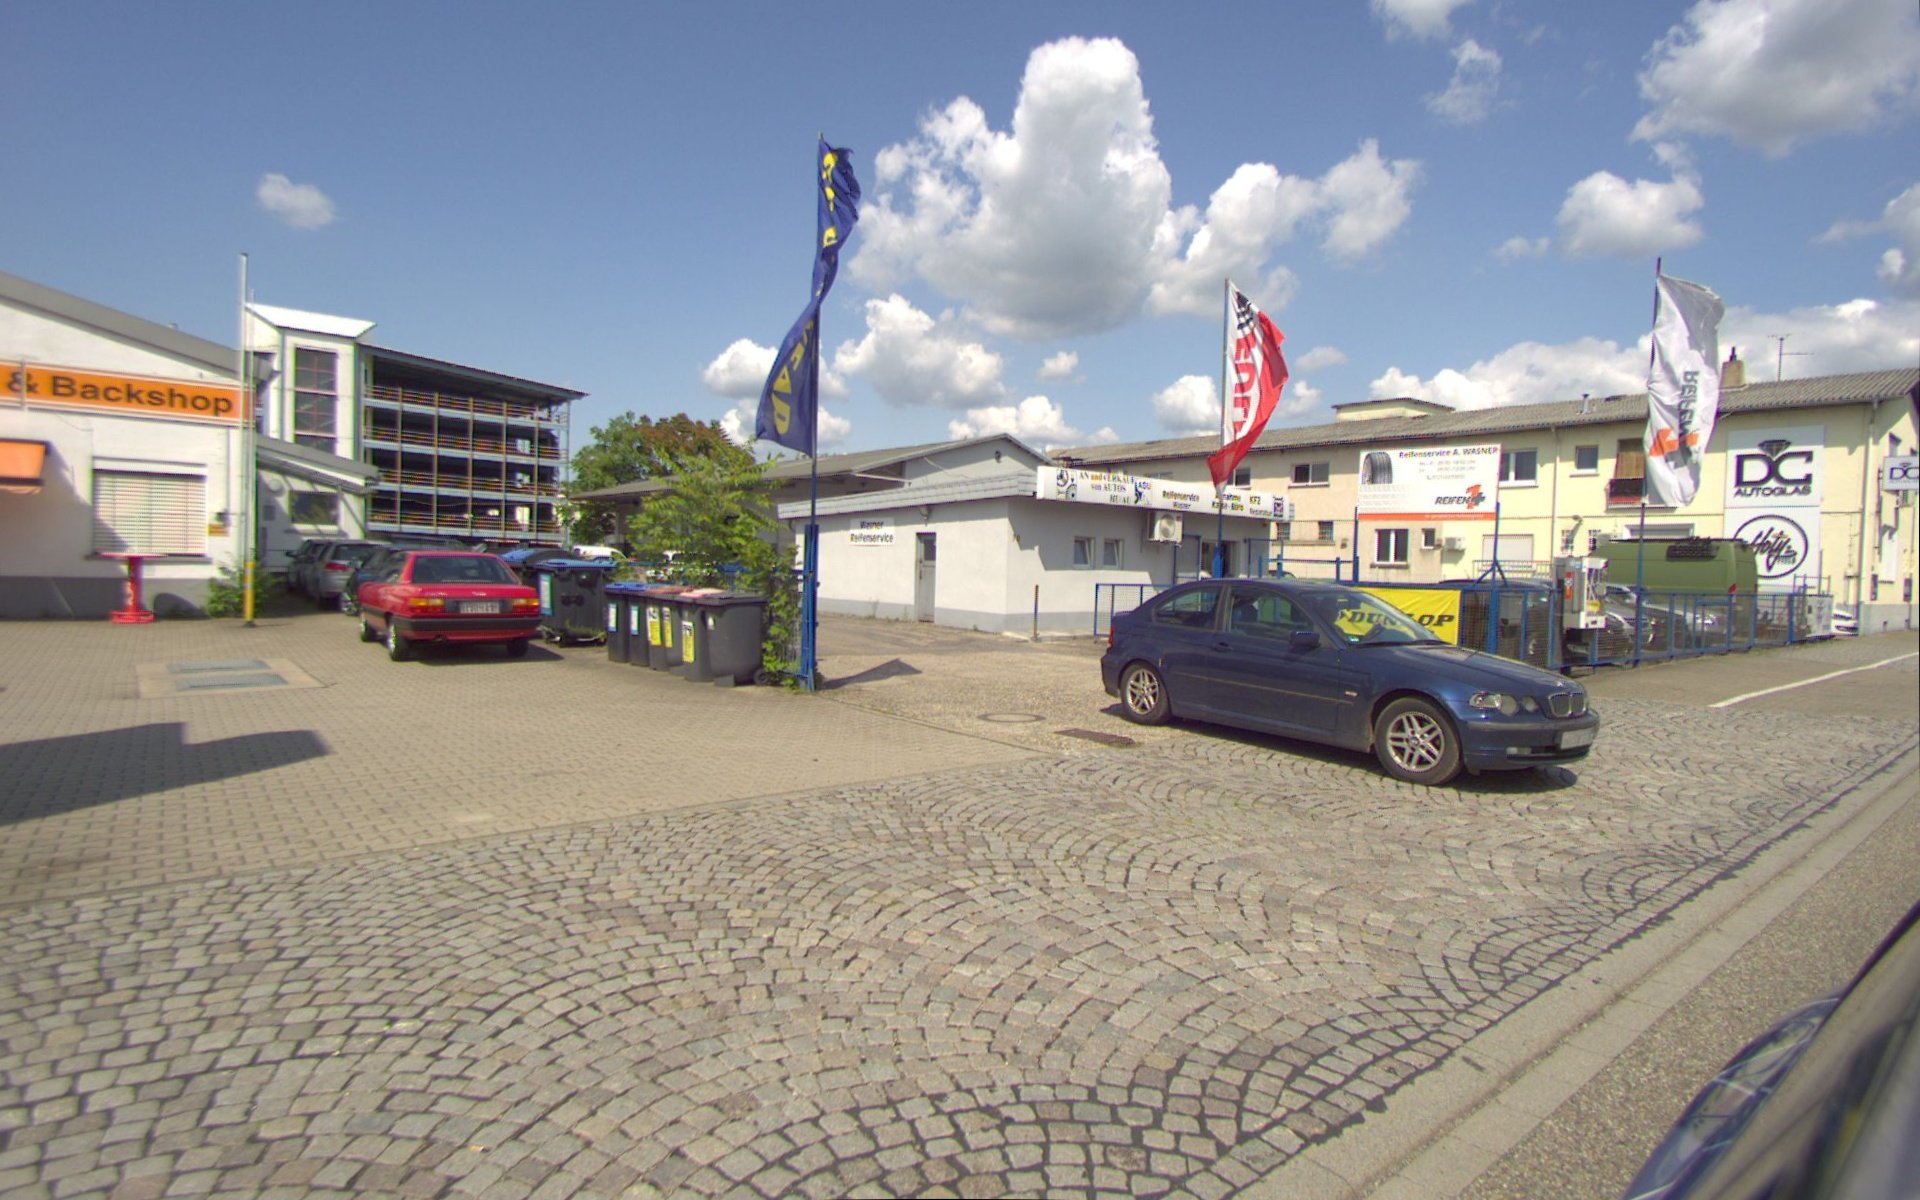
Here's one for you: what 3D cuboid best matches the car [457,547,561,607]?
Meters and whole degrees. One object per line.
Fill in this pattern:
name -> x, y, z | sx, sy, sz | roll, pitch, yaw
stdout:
car -> -10.443, -0.577, 23.347 | 1.460, 1.240, 3.311 | -1, 4, -38

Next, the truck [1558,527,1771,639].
truck -> 18.426, -0.452, 26.613 | 2.070, 2.694, 4.181 | -1, 1, -38

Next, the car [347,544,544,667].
car -> -7.366, -0.044, 14.285 | 1.739, 1.442, 4.147 | -1, 4, -38

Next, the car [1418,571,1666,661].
car -> 10.886, 0.214, 19.243 | 1.592, 1.480, 3.918 | -1, 2, -23

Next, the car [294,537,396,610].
car -> -13.525, -0.638, 22.172 | 1.500, 1.442, 3.594 | -1, 4, -38

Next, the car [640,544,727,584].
car -> -12.757, -1.640, 46.800 | 3.536, 1.764, 1.538 | 0, 1, -42

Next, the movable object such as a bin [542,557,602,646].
movable object such as a bin -> -5.882, 0.012, 15.347 | 0.694, 1.313, 0.581 | -1, 1, -41

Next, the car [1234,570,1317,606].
car -> 11.771, -0.453, 37.681 | 3.218, 1.277, 1.452 | -1, 1, -39

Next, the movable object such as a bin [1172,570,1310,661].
movable object such as a bin -> 4.703, 0.220, 16.936 | 1.735, 1.427, 1.535 | -1, 1, -40

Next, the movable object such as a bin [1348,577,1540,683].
movable object such as a bin -> 6.864, 0.373, 14.388 | 1.678, 1.364, 1.966 | -1, 1, -40

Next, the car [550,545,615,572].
car -> -20.765, -2.249, 55.698 | 3.093, 1.394, 1.380 | 0, 1, -42

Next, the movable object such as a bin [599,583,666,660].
movable object such as a bin -> -4.487, 0.277, 13.872 | 0.694, 1.023, 0.581 | -1, 1, -41

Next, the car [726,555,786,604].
car -> -6.059, -0.609, 30.290 | 1.605, 1.370, 3.679 | 1, 1, -9

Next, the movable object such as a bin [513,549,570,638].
movable object such as a bin -> -6.798, -0.112, 16.427 | 0.694, 1.408, 0.581 | 0, 2, -42

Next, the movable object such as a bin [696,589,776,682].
movable object such as a bin -> -2.574, 0.389, 11.635 | 0.694, 1.023, 0.581 | -1, 1, -41

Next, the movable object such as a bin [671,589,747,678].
movable object such as a bin -> -3.010, 0.383, 12.127 | 0.694, 1.023, 0.581 | -1, 1, -41

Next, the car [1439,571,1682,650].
car -> 12.751, 0.167, 21.812 | 1.789, 1.524, 4.271 | -1, 1, -23

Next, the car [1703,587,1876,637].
car -> 24.596, 0.311, 30.120 | 1.490, 1.374, 3.729 | -1, 1, -36

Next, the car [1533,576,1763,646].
car -> 16.562, 0.210, 24.572 | 1.791, 1.526, 4.266 | -1, 1, -32

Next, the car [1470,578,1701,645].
car -> 14.467, 0.197, 23.651 | 1.707, 1.391, 4.266 | -1, 2, -32

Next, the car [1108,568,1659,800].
car -> 3.212, 0.461, 8.508 | 1.615, 1.425, 4.069 | -1, 3, -33

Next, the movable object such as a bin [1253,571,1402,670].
movable object such as a bin -> 5.729, 0.276, 15.761 | 1.735, 1.427, 1.535 | -1, 1, -40

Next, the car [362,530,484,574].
car -> -25.899, -2.268, 48.943 | 4.866, 2.039, 1.967 | -1, 1, -44

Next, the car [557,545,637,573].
car -> -19.284, -2.166, 53.831 | 1.537, 1.361, 3.742 | 1, 1, 45
